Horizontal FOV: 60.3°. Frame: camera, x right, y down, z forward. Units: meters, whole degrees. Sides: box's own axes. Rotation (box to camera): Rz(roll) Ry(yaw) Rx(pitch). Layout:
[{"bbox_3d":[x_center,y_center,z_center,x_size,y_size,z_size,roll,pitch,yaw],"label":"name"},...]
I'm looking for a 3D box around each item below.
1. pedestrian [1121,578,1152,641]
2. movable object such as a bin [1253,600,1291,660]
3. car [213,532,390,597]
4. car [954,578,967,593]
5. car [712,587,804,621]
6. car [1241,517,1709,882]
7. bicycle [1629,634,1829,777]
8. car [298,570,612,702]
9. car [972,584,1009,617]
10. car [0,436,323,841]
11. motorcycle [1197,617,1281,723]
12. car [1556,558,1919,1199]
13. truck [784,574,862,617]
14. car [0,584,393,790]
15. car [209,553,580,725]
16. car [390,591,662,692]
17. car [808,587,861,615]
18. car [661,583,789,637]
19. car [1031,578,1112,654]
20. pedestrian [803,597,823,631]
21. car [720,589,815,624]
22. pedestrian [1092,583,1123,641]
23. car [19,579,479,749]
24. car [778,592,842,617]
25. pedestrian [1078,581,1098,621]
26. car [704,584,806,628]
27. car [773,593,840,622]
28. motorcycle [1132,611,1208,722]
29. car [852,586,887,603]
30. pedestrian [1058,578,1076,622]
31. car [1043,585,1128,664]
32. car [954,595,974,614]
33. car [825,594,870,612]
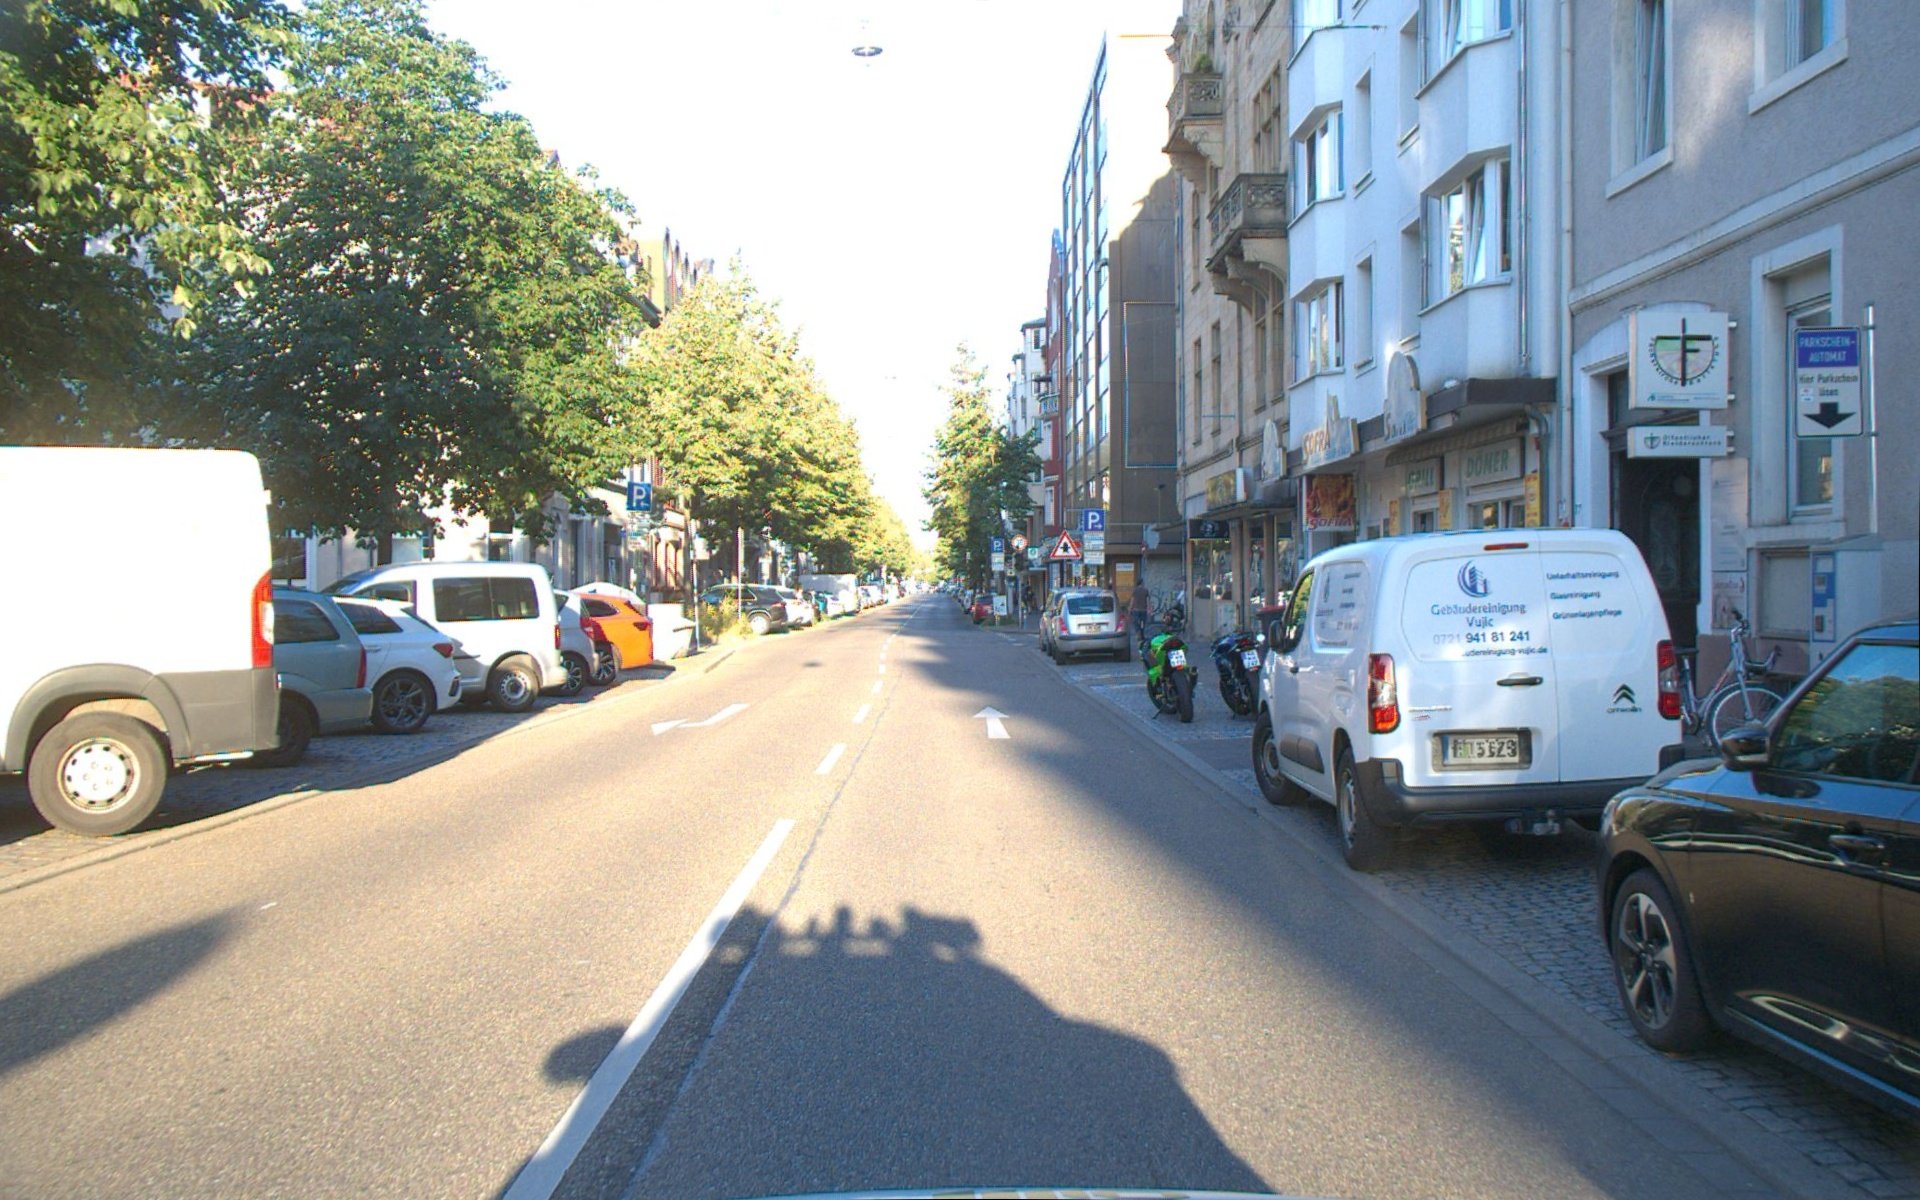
[{"bbox_3d":[5.143,0.270,48.211,0.740,1.798,1.222,1,0,-2],"label":"pedestrian"},{"bbox_3d":[5.896,0.562,31.246,0.583,1.103,0.664,1,0,0],"label":"movable object such as a bin"},{"bbox_3d":[-17.992,-0.949,45.177,4.366,1.706,1.943,0,1,-27],"label":"car"},{"bbox_3d":[0.055,-1.640,186.461,1.283,1.628,2.659,0,0,-3],"label":"car"},{"bbox_3d":[-10.077,0.208,82.652,4.337,1.627,1.999,1,0,-2],"label":"car"},{"bbox_3d":[3.020,0.484,10.677,1.675,1.867,4.306,1,1,0],"label":"car"},{"bbox_3d":[6.010,0.794,13.028,0.447,1.029,1.706,0,-1,-15],"label":"bicycle"},{"bbox_3d":[-7.180,0.489,23.658,3.957,1.725,1.727,1,0,-37],"label":"car"},{"bbox_3d":[1.530,0.045,83.900,1.545,1.569,3.394,-2,0,-3],"label":"car"},{"bbox_3d":[-6.419,0.208,10.059,4.545,2.290,2.183,1,0,-28],"label":"car"},{"bbox_3d":[3.279,0.795,19.608,0.576,1.143,2.210,0,1,-1],"label":"motorcycle"},{"bbox_3d":[3.129,0.688,4.389,1.633,1.571,3.882,1,1,-1],"label":"car"},{"bbox_3d":[-8.766,-0.319,106.235,4.841,2.661,1.999,1,0,-2],"label":"truck"},{"bbox_3d":[-6.925,0.631,13.491,3.968,1.493,1.853,0,1,-43],"label":"car"},{"bbox_3d":[-6.879,0.415,20.277,3.957,1.911,1.847,0,1,-37],"label":"car"},{"bbox_3d":[-7.097,0.620,27.090,3.945,1.512,1.980,-1,0,-30],"label":"car"},{"bbox_3d":[-8.856,0.082,116.966,3.664,1.891,2.000,1,1,-2],"label":"car"},{"bbox_3d":[-8.478,0.346,59.889,4.359,1.867,2.033,1,1,-2],"label":"car"},{"bbox_3d":[2.760,0.365,41.678,1.662,1.800,3.999,-1,1,-1],"label":"car"},{"bbox_3d":[-7.504,0.724,84.563,0.717,1.712,0.746,1,0,-41],"label":"pedestrian"},{"bbox_3d":[-8.691,0.286,74.901,4.090,1.533,1.999,1,0,-2],"label":"car"},{"bbox_3d":[4.280,0.340,48.181,0.740,1.669,1.259,1,0,-2],"label":"pedestrian"},{"bbox_3d":[-7.142,0.582,16.790,3.961,1.518,1.824,1,0,-39],"label":"car"},{"bbox_3d":[-9.038,0.278,99.925,3.664,1.475,1.999,1,0,-2],"label":"car"},{"bbox_3d":[5.544,0.057,71.831,0.750,1.718,0.785,-1,1,-3],"label":"pedestrian"},{"bbox_3d":[-8.268,0.227,66.954,3.909,1.738,1.833,1,1,-2],"label":"car"},{"bbox_3d":[-8.778,0.425,94.931,3.664,1.624,1.999,1,0,-2],"label":"car"},{"bbox_3d":[2.545,0.773,20.204,0.576,1.221,2.210,-2,1,-1],"label":"motorcycle"},{"bbox_3d":[-9.450,-0.581,172.895,3.664,1.738,2.000,1,1,-2],"label":"car"},{"bbox_3d":[4.631,0.012,71.792,0.700,1.898,0.679,0,0,-4],"label":"pedestrian"},{"bbox_3d":[2.757,0.495,36.933,1.645,1.588,4.001,-2,1,2],"label":"car"},{"bbox_3d":[0.271,0.332,115.744,1.182,1.323,2.659,0,0,-3],"label":"car"},{"bbox_3d":[-9.478,0.229,139.112,3.664,1.519,1.999,0,0,-2],"label":"car"}]
